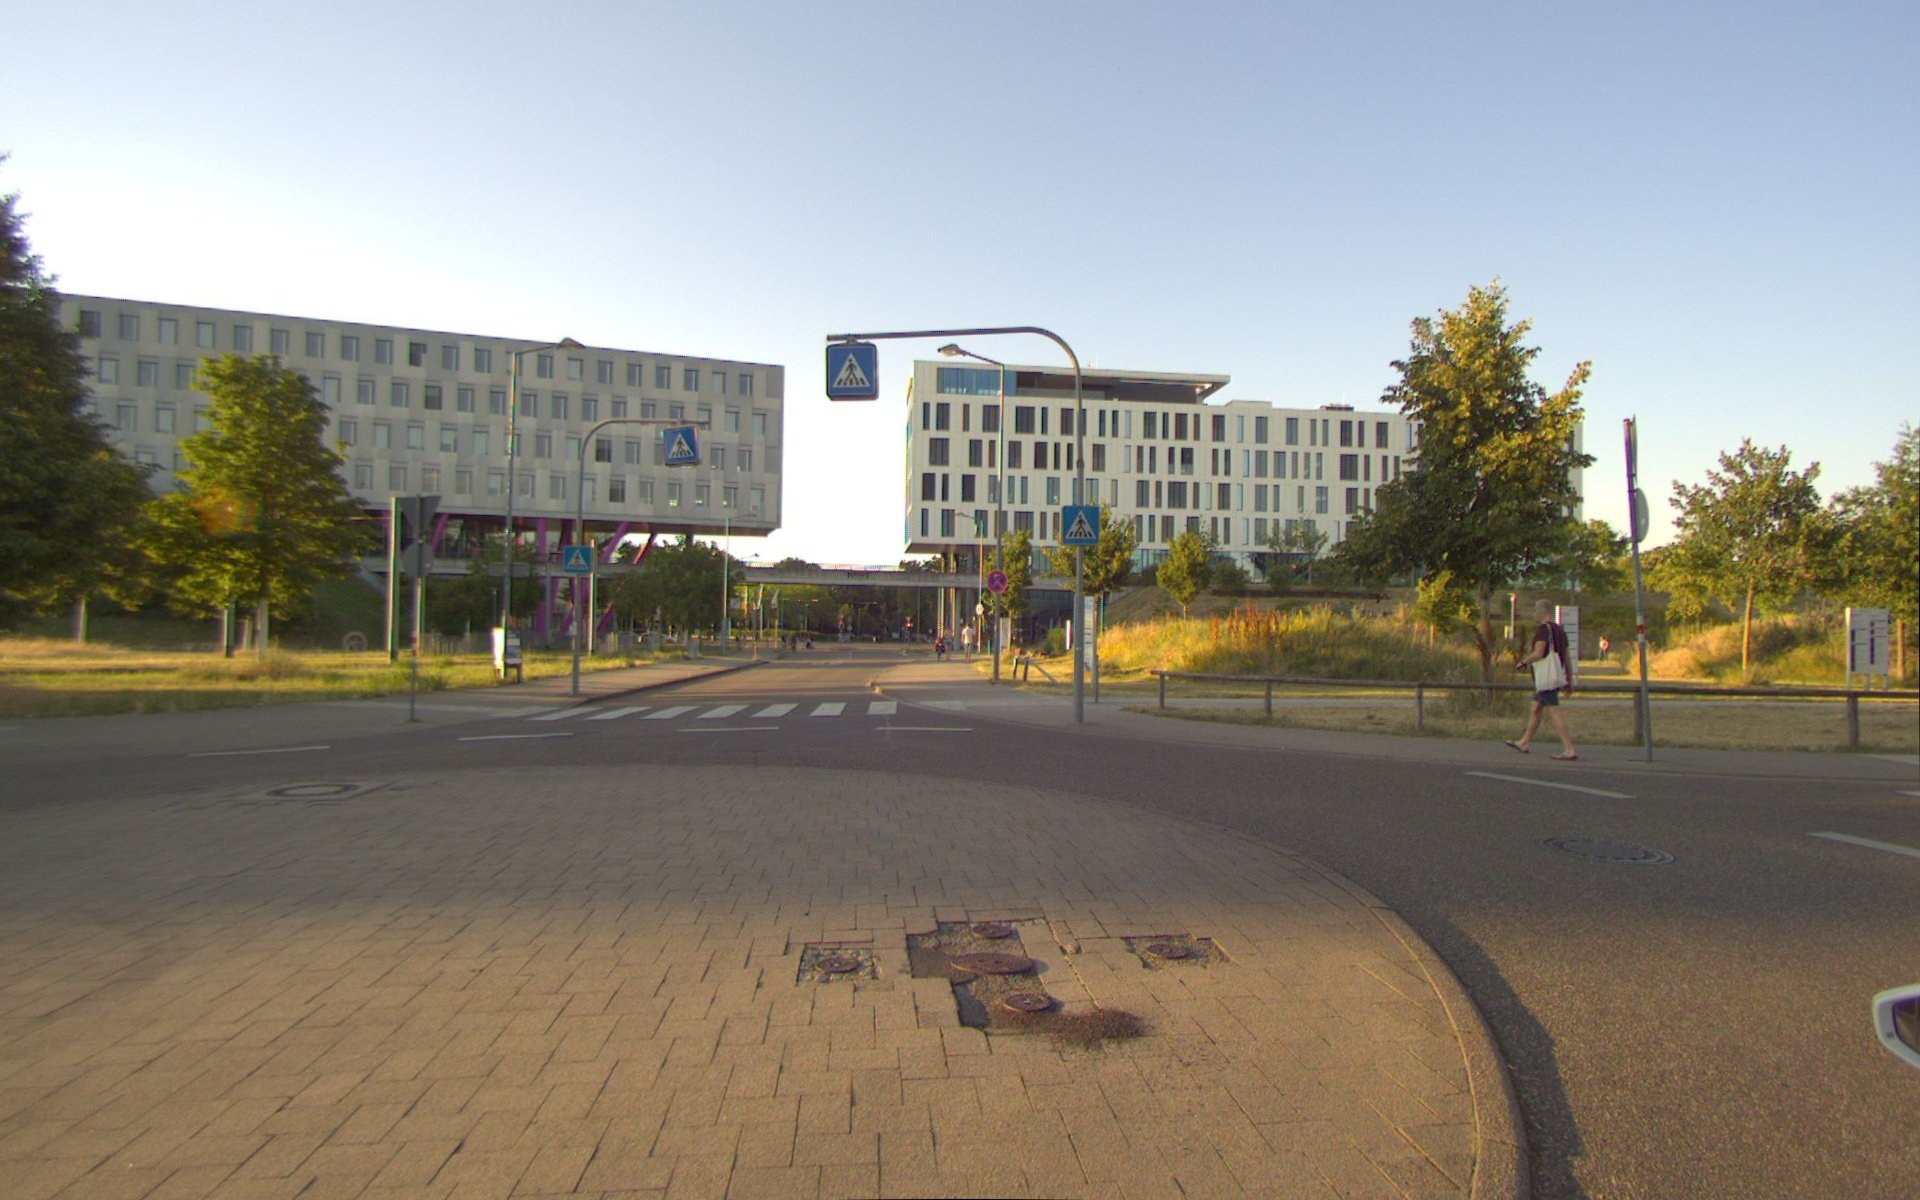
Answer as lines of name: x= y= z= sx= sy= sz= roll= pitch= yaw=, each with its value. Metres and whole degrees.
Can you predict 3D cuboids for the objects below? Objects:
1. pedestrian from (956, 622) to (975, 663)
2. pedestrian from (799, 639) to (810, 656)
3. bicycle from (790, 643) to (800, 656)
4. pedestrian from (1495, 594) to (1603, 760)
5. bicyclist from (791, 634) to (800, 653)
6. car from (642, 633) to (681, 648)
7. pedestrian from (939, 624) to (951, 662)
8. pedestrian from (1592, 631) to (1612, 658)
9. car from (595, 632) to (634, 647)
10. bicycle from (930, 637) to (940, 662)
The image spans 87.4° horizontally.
pedestrian: x=0.243 y=1.896 z=44.748 sx=0.817 sy=1.790 sz=0.818 roll=1 pitch=-1 yaw=1
pedestrian: x=-17.279 y=5.233 z=111.499 sx=1.041 sy=1.858 sz=0.891 roll=1 pitch=-1 yaw=-19
bicycle: x=-14.833 y=4.453 z=90.346 sx=0.530 sy=1.057 sz=1.925 roll=1 pitch=-1 yaw=-1
pedestrian: x=6.660 y=0.850 z=11.386 sx=0.720 sy=1.808 sz=0.801 roll=1 pitch=-1 yaw=-3
bicyclist: x=-14.821 y=3.938 z=90.357 sx=0.604 sy=1.684 sz=1.036 roll=1 pitch=-1 yaw=-1
car: x=-36.582 y=5.011 z=123.082 sx=4.346 sy=1.747 sz=1.832 roll=1 pitch=-1 yaw=-8
pedestrian: x=-0.743 y=2.132 z=50.007 sx=0.584 sy=1.826 sz=0.818 roll=1 pitch=-1 yaw=1
pedestrian: x=42.191 y=2.914 z=66.038 sx=0.801 sy=1.790 sz=0.834 roll=1 pitch=-1 yaw=2
car: x=-44.836 y=5.170 z=130.424 sx=4.399 sy=1.841 sz=1.943 roll=1 pitch=-1 yaw=-7
bicycle: x=-1.235 y=2.433 z=49.982 sx=0.442 sy=1.184 sz=1.941 roll=1 pitch=-1 yaw=0
